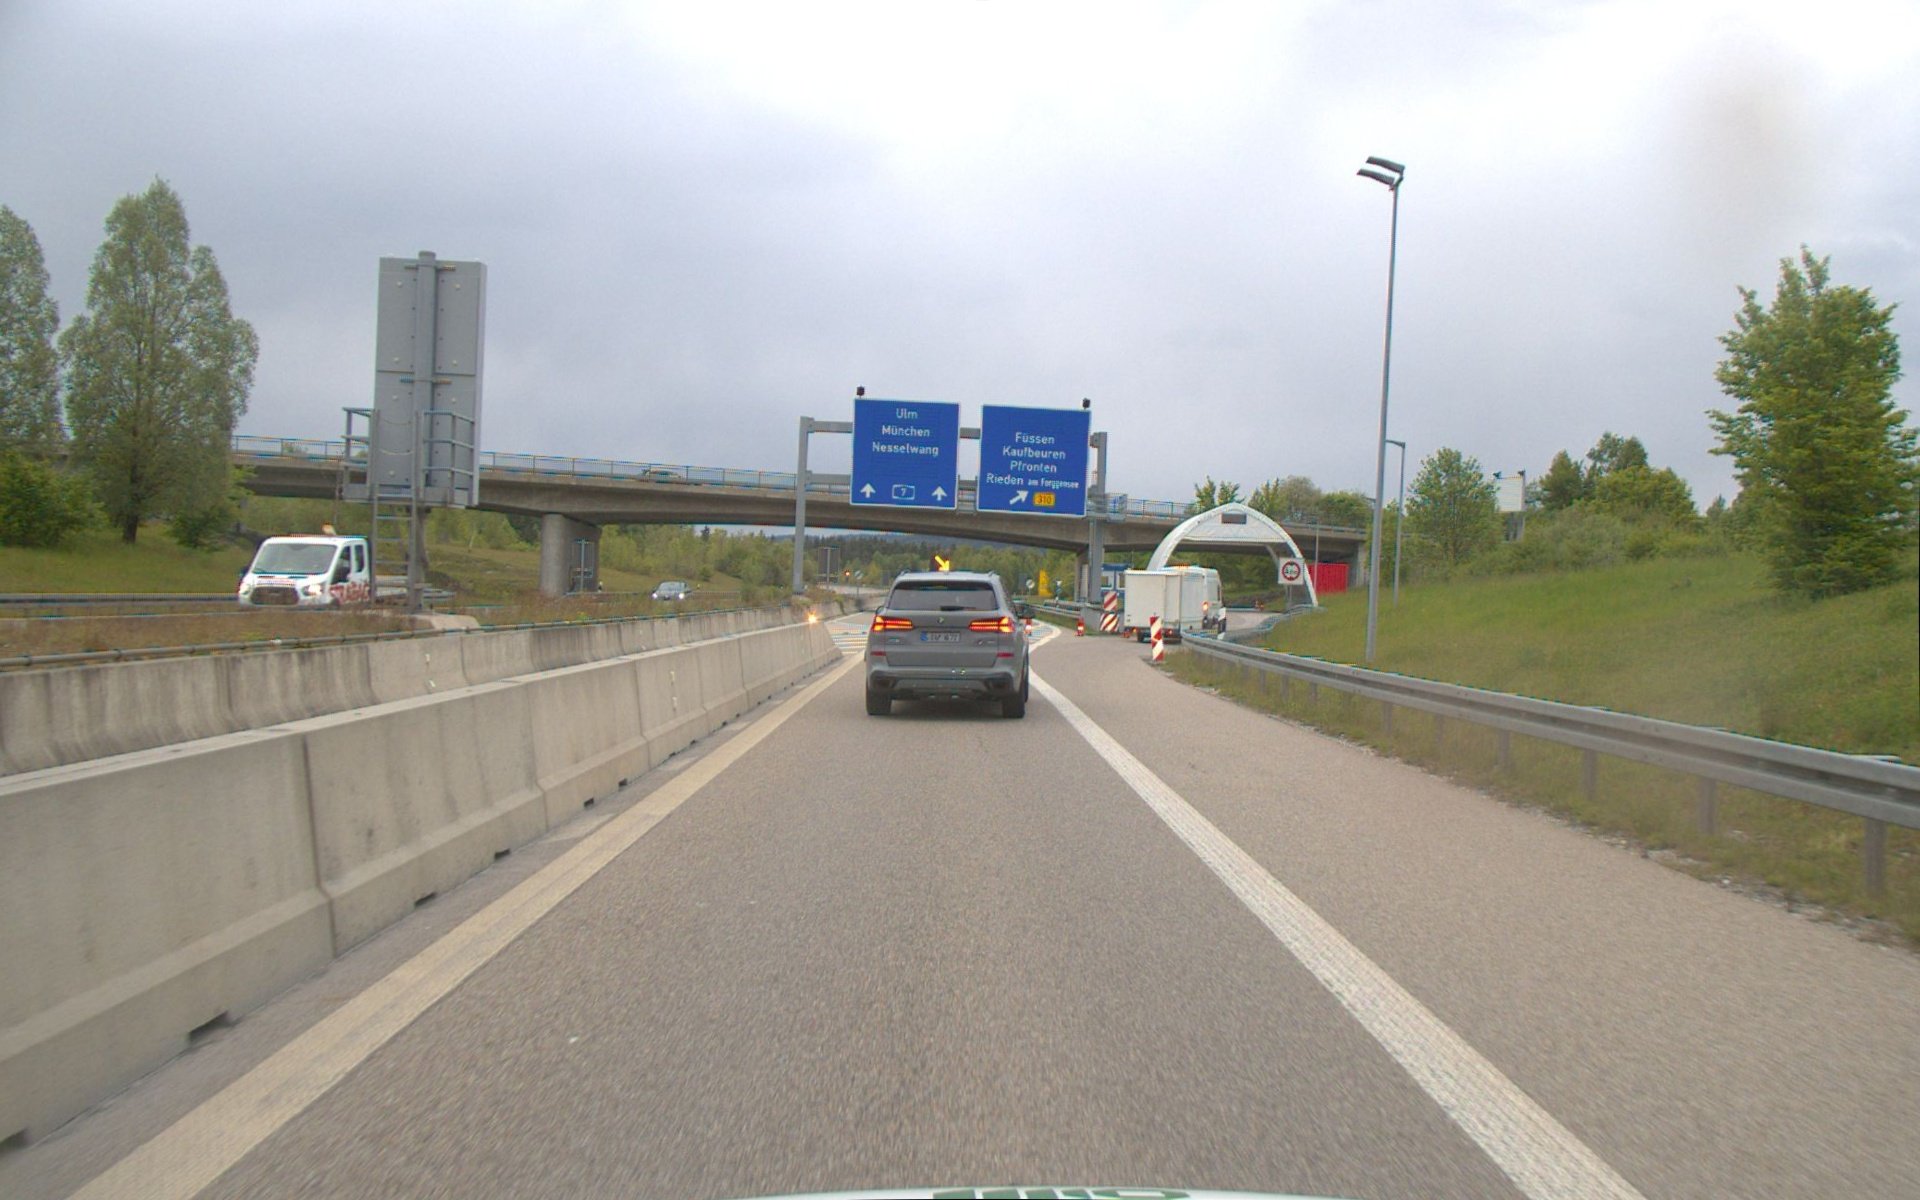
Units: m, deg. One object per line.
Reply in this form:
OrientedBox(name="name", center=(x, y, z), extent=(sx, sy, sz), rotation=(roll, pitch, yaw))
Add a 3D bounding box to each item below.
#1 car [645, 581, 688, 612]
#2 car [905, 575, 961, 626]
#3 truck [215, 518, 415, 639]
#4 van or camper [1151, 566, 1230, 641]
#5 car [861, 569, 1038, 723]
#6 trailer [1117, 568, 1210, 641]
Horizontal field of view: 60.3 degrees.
OrientedBox(name="car", center=(-15.120, -0.202, 85.371), extent=(1.575, 1.527, 3.837), rotation=(2, 0, -1))
OrientedBox(name="car", center=(-1.172, -0.025, 69.868), extent=(2.240, 2.049, 5.048), rotation=(1, 1, -2))
OrientedBox(name="truck", center=(-14.820, -0.484, 38.463), extent=(2.309, 2.522, 5.987), rotation=(2, 0, -1))
OrientedBox(name="van or camper", center=(9.231, 0.156, 65.878), extent=(2.111, 2.812, 5.874), rotation=(1, 0, 18))
OrientedBox(name="car", center=(-0.034, 0.517, 21.141), extent=(1.952, 1.749, 4.002), rotation=(1, 0, 4))
OrientedBox(name="trailer", center=(7.461, 0.181, 59.872), extent=(2.231, 2.473, 6.821), rotation=(1, 0, 16))
